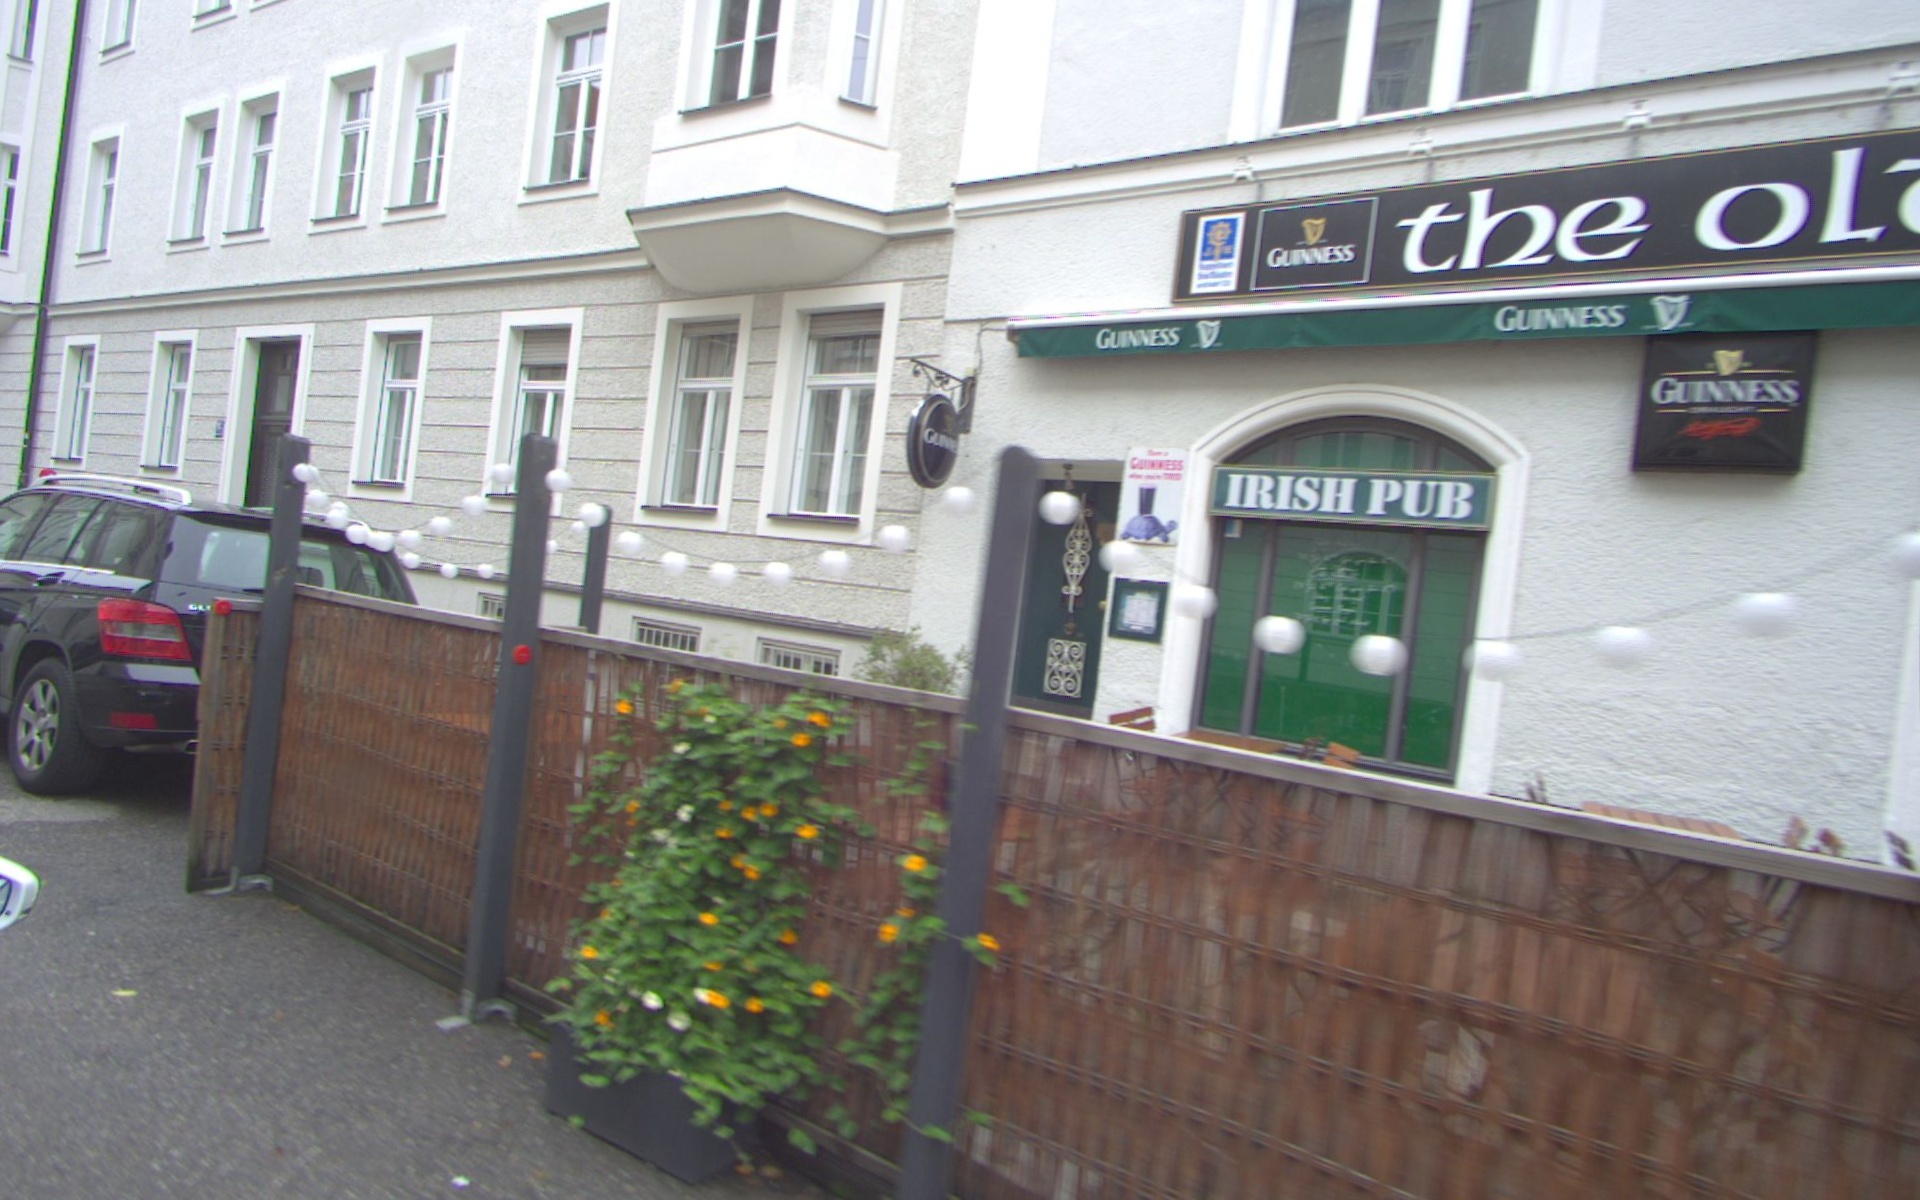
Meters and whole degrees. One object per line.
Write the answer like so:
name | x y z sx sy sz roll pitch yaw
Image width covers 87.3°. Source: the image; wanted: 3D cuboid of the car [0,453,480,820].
car | -5.358 0.091 6.545 4.117 1.693 1.806 7 -3 29

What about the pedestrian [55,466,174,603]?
pedestrian | -12.513 -0.963 14.895 1.092 1.835 0.884 7 0 30

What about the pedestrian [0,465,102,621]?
pedestrian | -11.637 -0.723 12.700 1.093 1.835 0.883 7 2 34

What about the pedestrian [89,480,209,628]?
pedestrian | -10.714 -0.606 13.294 1.094 1.810 0.883 7 2 35
